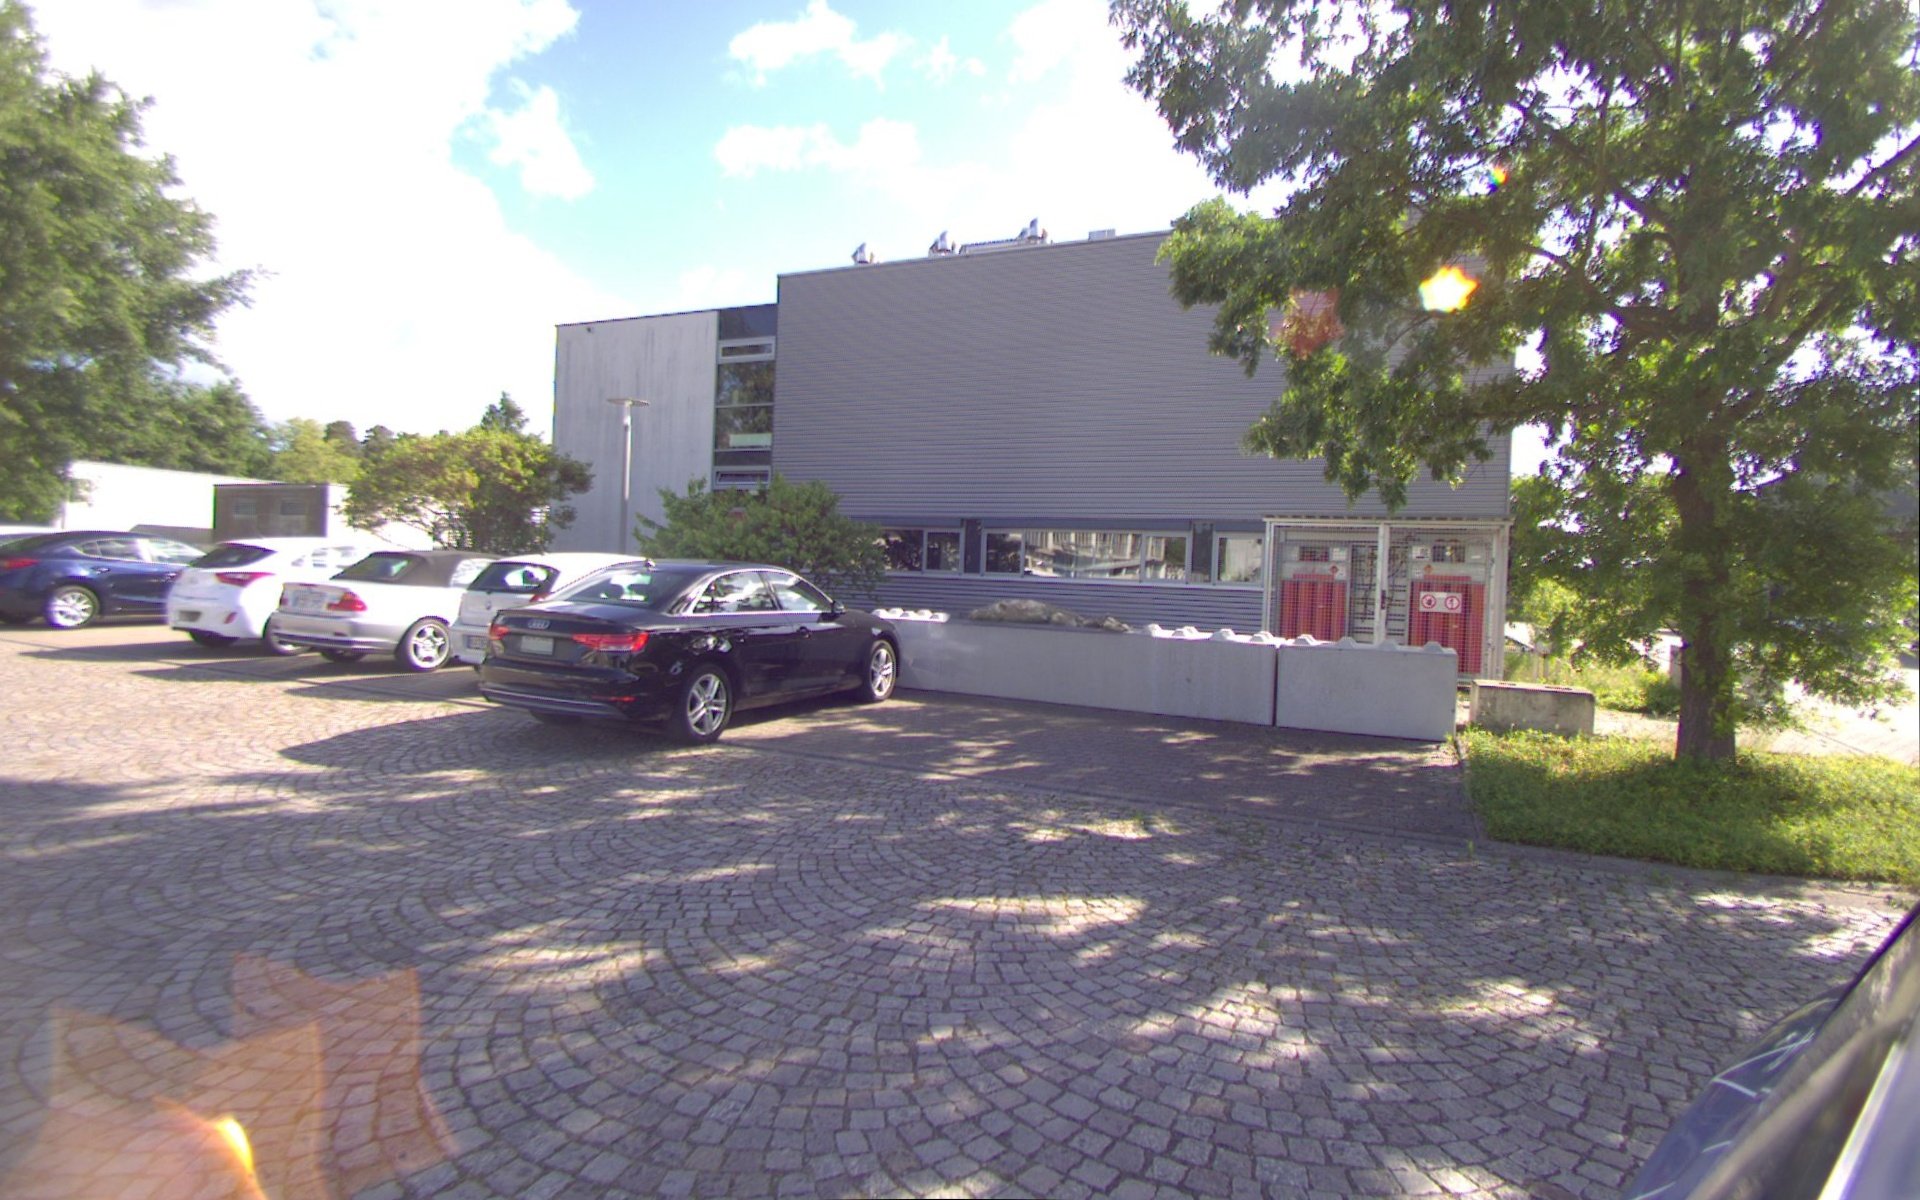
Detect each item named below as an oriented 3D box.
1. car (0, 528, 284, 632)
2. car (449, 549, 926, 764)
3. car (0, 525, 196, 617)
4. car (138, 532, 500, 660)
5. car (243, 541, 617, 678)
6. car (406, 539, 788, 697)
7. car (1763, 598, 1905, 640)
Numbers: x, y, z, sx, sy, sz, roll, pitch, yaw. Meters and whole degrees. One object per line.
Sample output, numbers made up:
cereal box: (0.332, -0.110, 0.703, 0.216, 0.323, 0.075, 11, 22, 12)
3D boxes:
car: (-13.206, -0.369, 16.011, 1.676, 1.434, 3.891, 3, 3, 26)
car: (-2.140, 0.303, 9.473, 1.738, 1.440, 4.696, 3, 3, 24)
car: (-15.612, -0.518, 17.151, 1.778, 1.453, 3.891, 3, 3, 26)
car: (-8.545, -0.126, 13.868, 1.738, 1.464, 3.891, 3, 3, 26)
car: (-6.346, 0.023, 12.593, 1.711, 1.388, 3.891, 3, 3, 26)
car: (-4.003, 0.098, 11.857, 1.678, 1.478, 4.108, 3, 3, 30)
car: (40.608, 0.856, 47.160, 4.532, 1.683, 1.983, 3, 1, 25)
